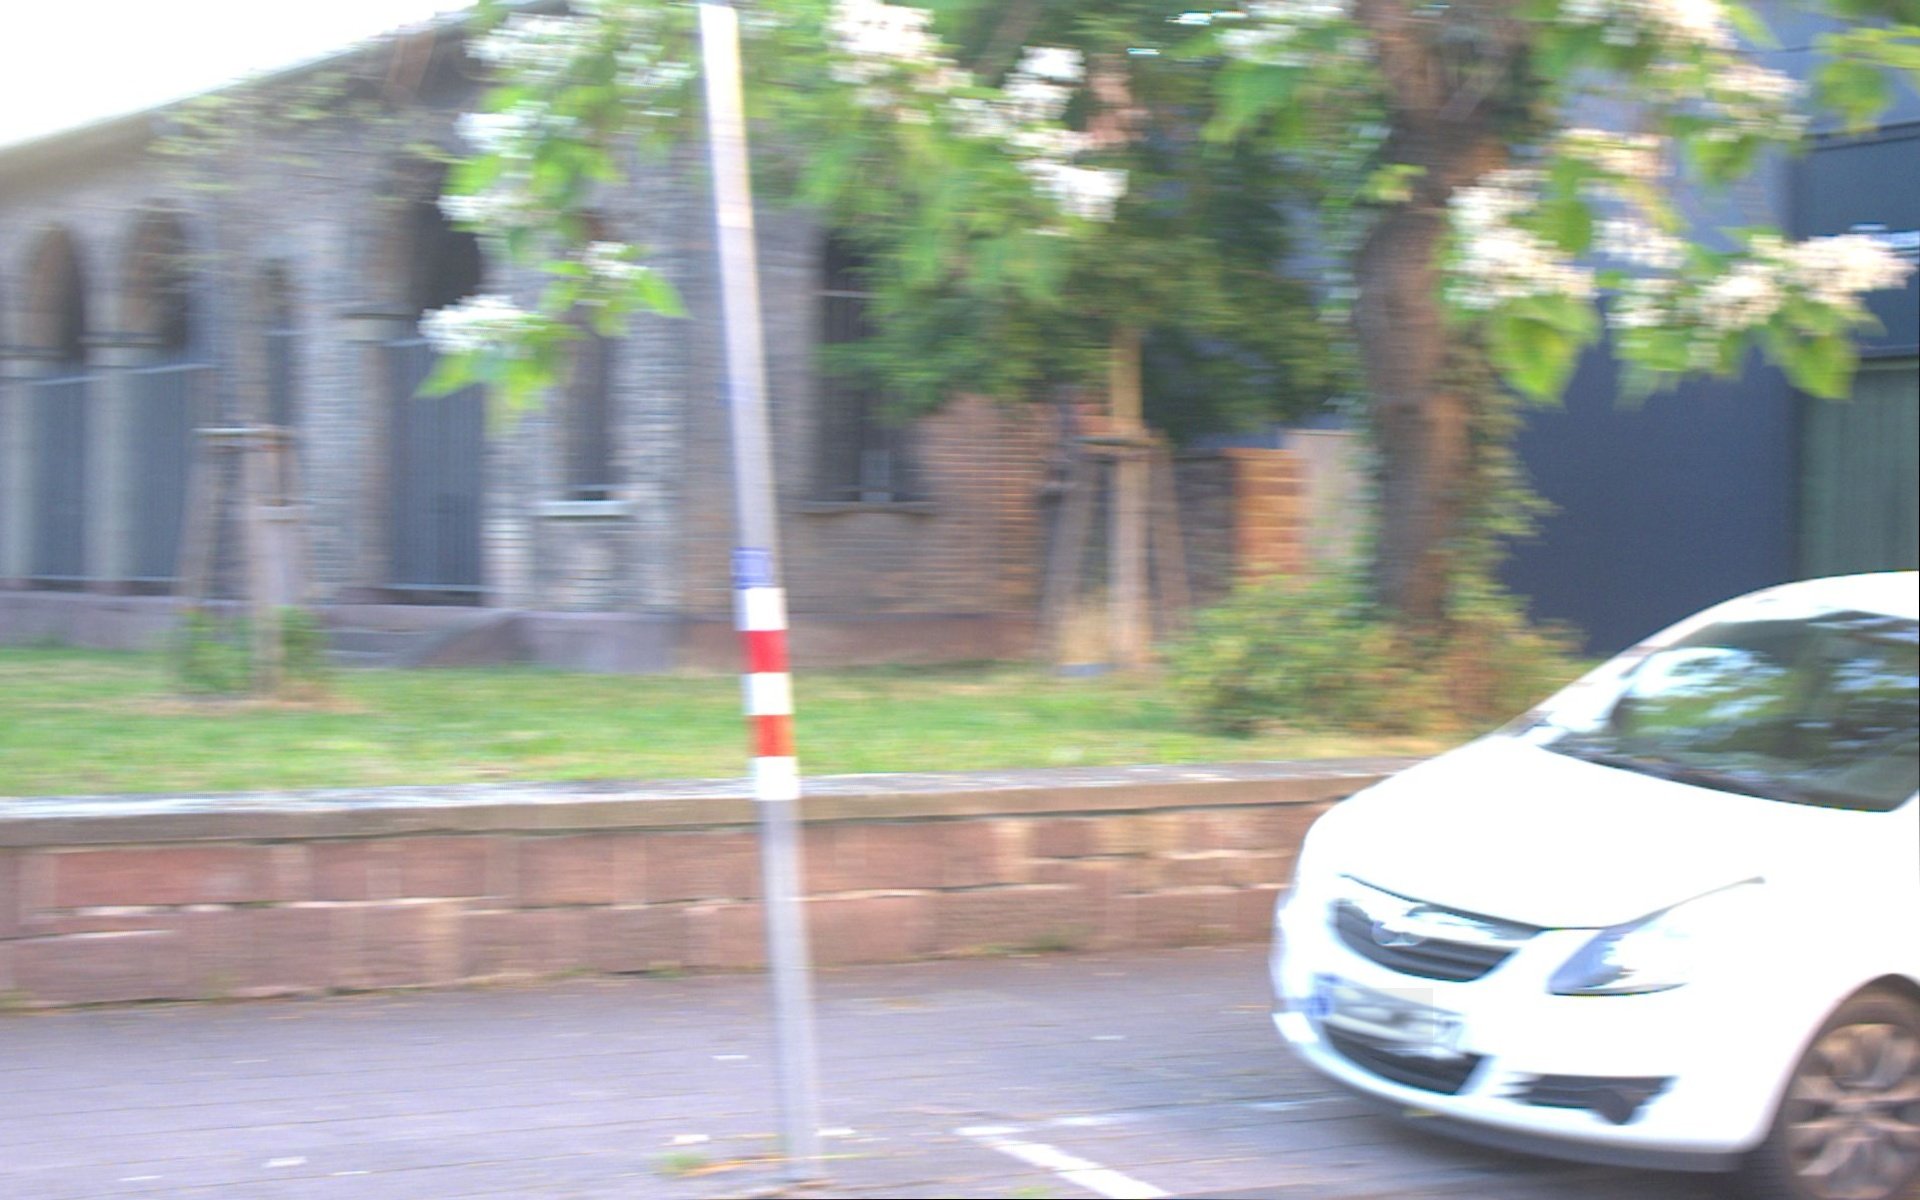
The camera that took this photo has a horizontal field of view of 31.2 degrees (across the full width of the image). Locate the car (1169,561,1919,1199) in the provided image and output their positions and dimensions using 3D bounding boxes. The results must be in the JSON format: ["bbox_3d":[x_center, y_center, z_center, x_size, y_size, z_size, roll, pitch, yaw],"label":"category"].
[{"bbox_3d":[2.629,0.701,9.446,3.872,1.509,1.667,-1,4,-35],"label":"car"}]
